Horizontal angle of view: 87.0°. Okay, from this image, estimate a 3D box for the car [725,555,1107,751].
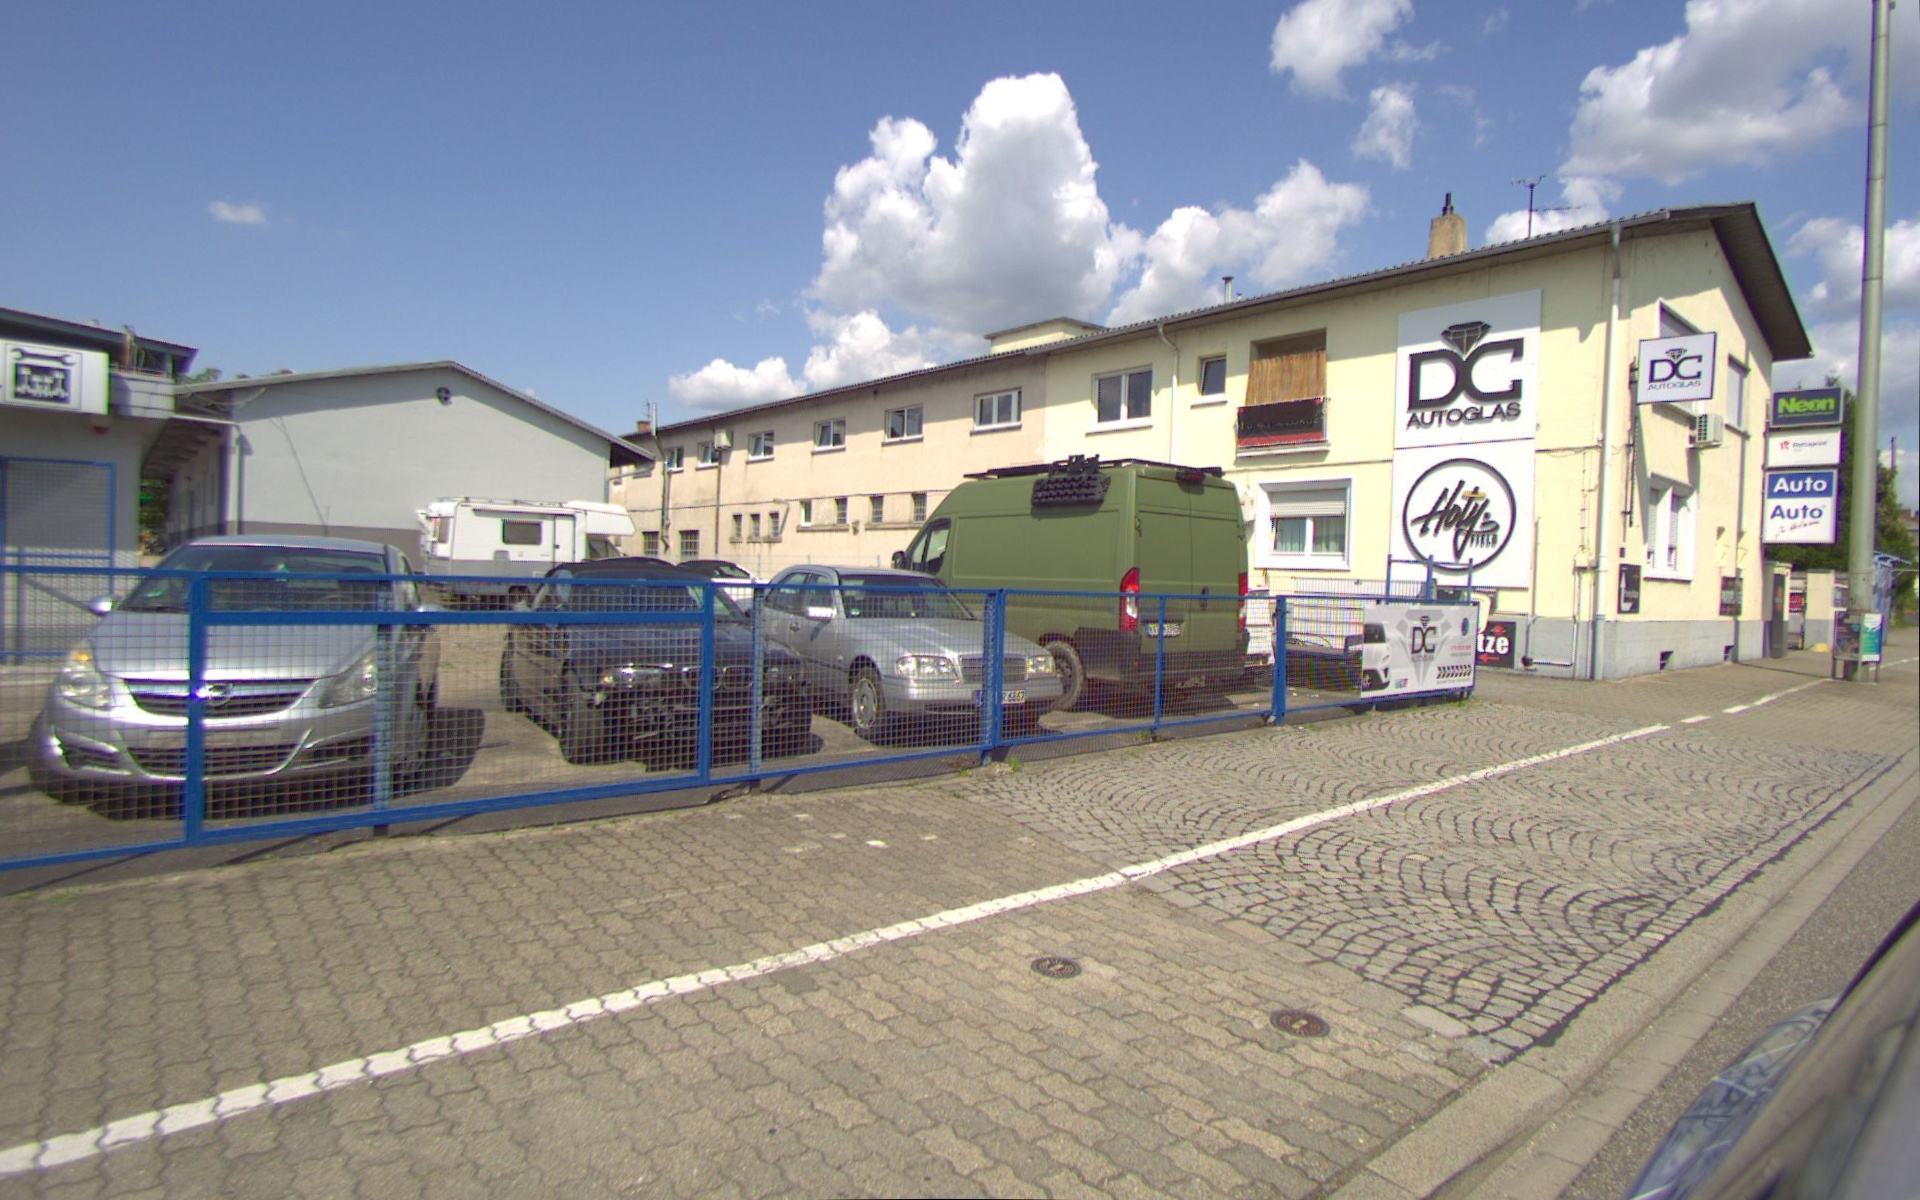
[{"bbox_3d":[-0.669,0.321,9.799,1.785,1.449,4.200,0,2,-33],"label":"car"}]

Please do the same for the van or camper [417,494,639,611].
[{"bbox_3d":[-11.447,-1.229,27.036,4.978,2.807,2.311,-1,3,-44],"label":"van or camper"}]

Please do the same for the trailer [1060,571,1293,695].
[{"bbox_3d":[2.778,0.360,13.354,1.280,1.349,2.789,0,3,-40],"label":"trailer"}]

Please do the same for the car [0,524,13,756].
[{"bbox_3d":[-6.080,0.318,4.328,1.675,1.460,4.009,1,2,-23],"label":"car"}]

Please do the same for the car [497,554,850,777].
[{"bbox_3d":[-2.609,0.334,8.456,1.784,1.372,4.004,0,2,-32],"label":"car"}]

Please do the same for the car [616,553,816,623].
[{"bbox_3d":[-5.509,-0.294,23.114,4.110,1.433,1.756,0,3,-42],"label":"car"}]

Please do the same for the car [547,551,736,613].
[{"bbox_3d":[-7.967,-0.456,25.510,4.110,1.405,1.925,0,3,-42],"label":"car"}]

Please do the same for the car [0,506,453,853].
[{"bbox_3d":[-4.314,0.273,6.551,1.714,1.515,4.008,1,2,-25],"label":"car"}]

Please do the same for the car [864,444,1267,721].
[{"bbox_3d":[1.018,-0.259,11.960,2.112,2.605,4.549,0,2,-38],"label":"car"}]
